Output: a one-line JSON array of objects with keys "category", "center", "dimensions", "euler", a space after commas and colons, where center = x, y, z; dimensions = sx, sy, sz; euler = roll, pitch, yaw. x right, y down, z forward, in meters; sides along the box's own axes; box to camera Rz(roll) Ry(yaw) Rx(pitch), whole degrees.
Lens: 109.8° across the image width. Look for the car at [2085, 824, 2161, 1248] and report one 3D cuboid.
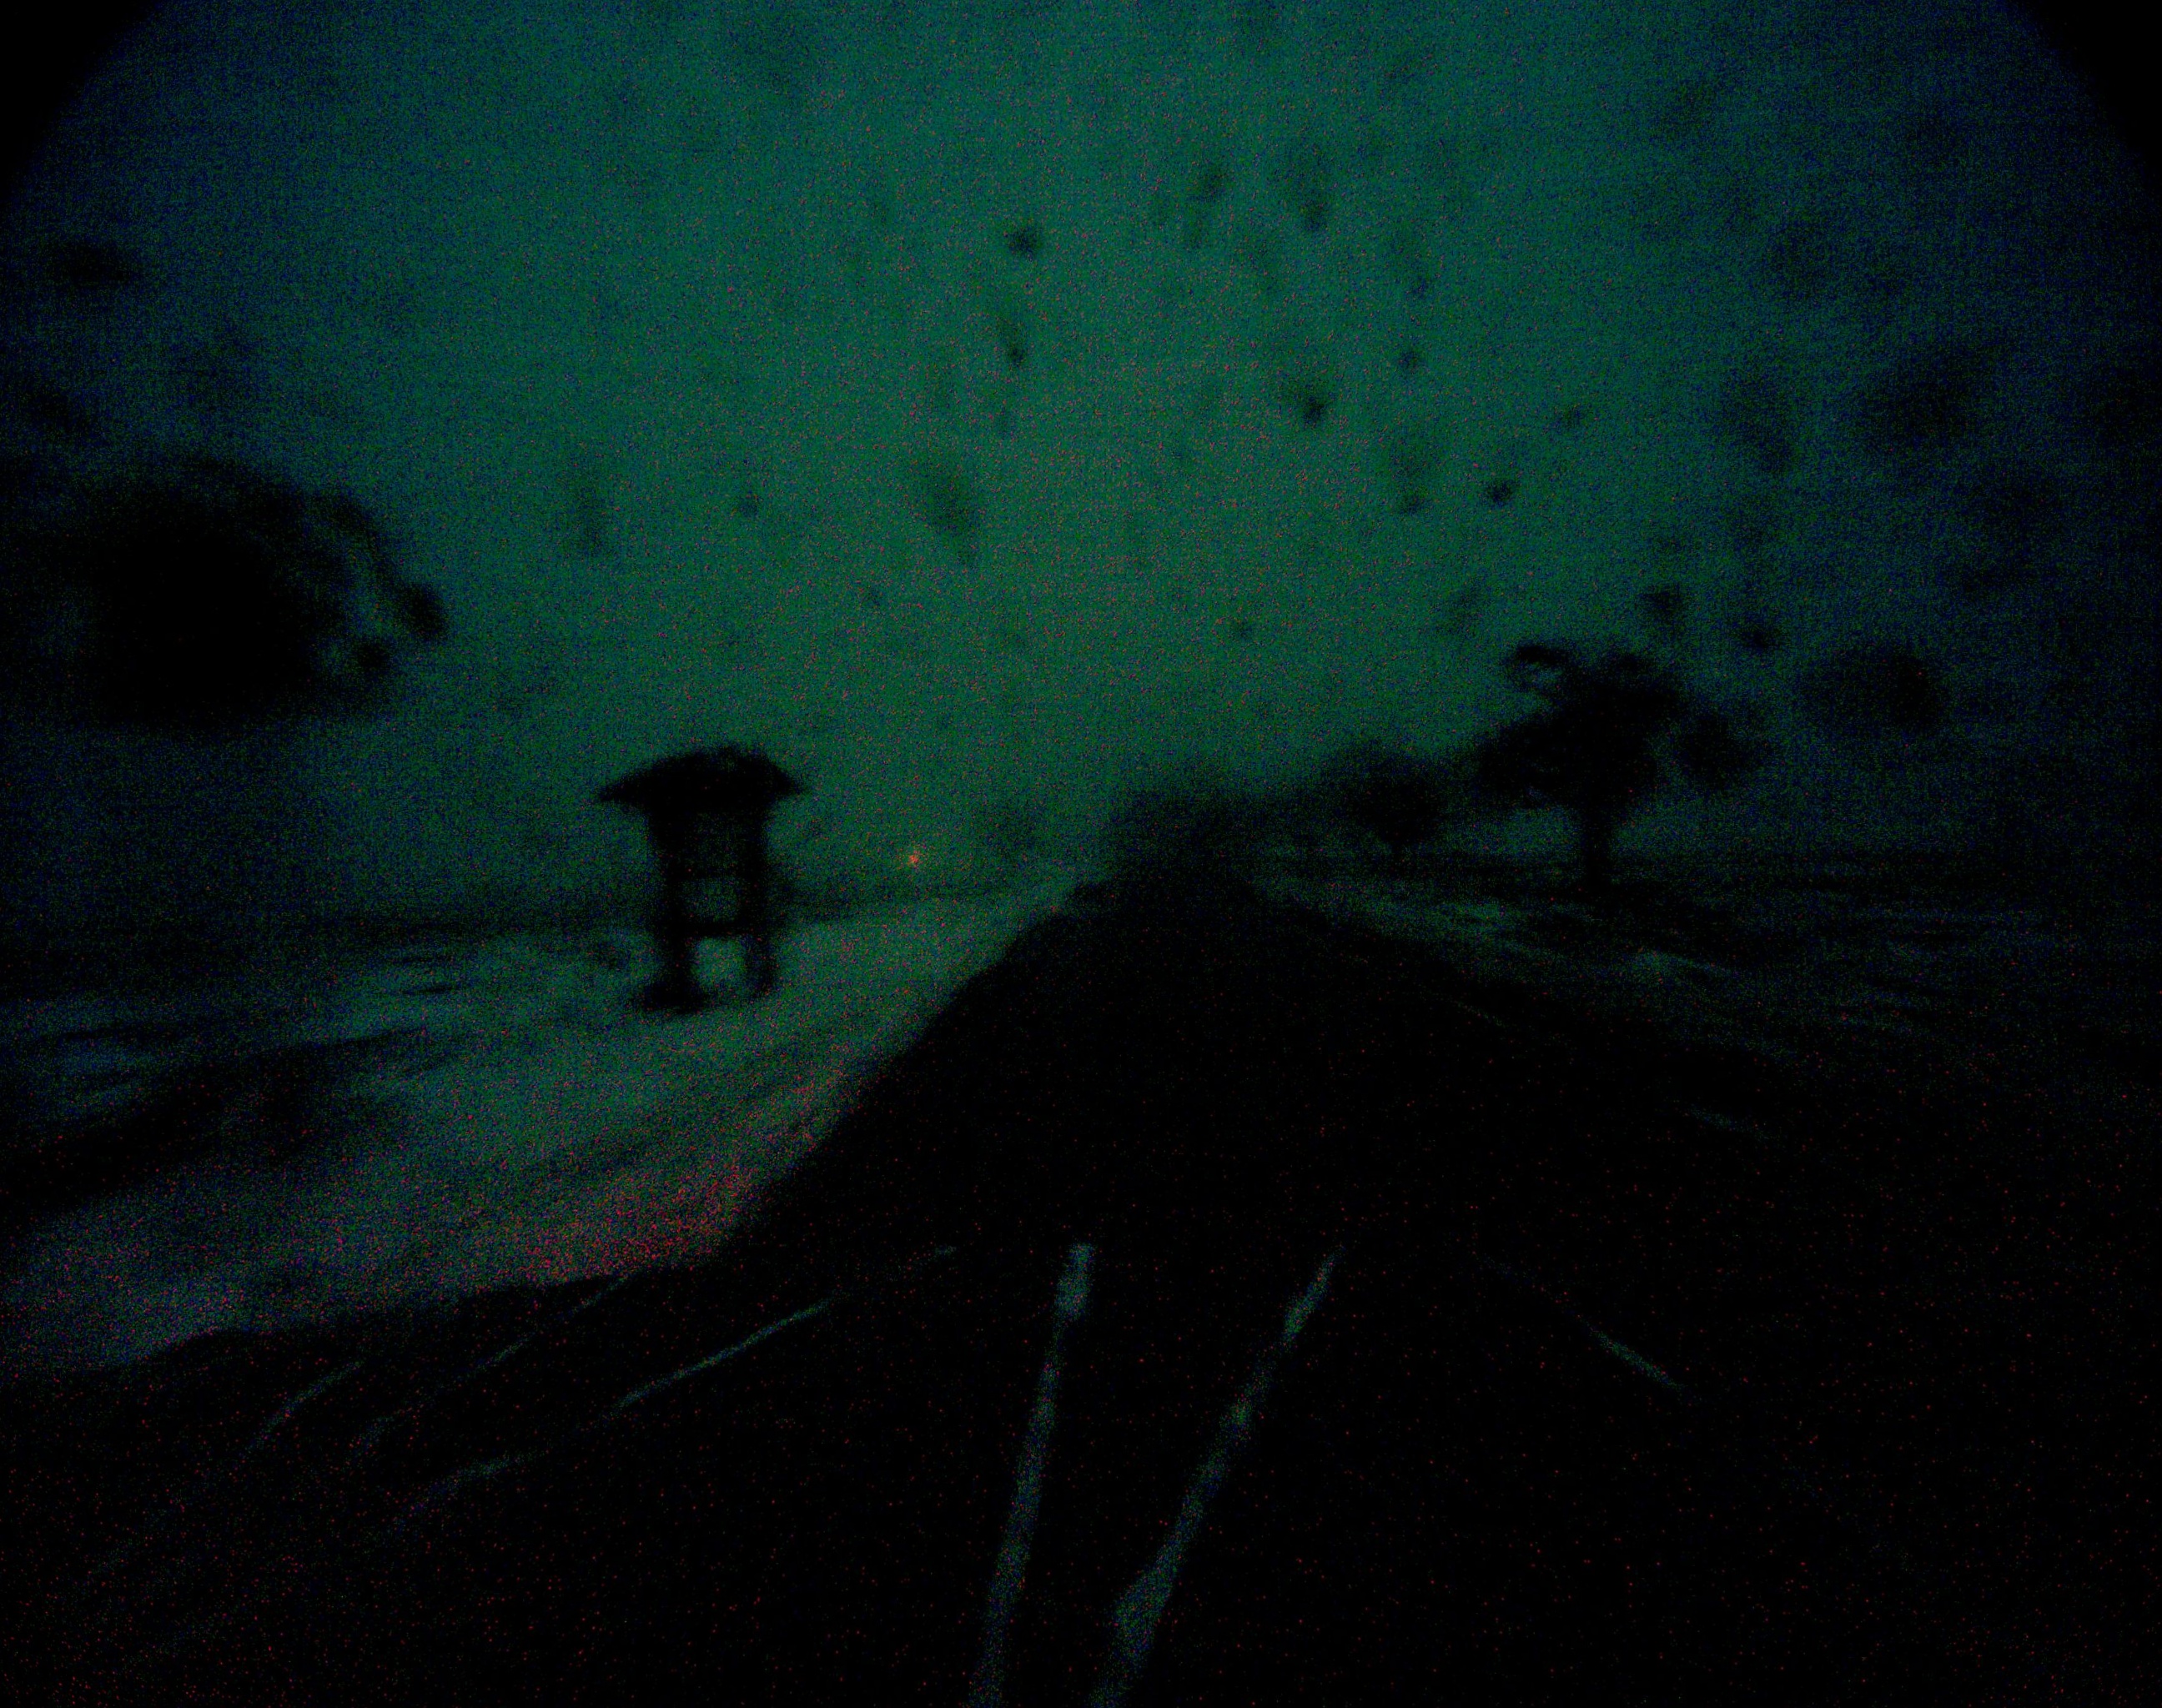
[{"category": "car", "center": [4.414, 0.660, 1.293], "dimensions": [1.525, 1.499, 3.053], "euler": [-2, 1, 7]}]
